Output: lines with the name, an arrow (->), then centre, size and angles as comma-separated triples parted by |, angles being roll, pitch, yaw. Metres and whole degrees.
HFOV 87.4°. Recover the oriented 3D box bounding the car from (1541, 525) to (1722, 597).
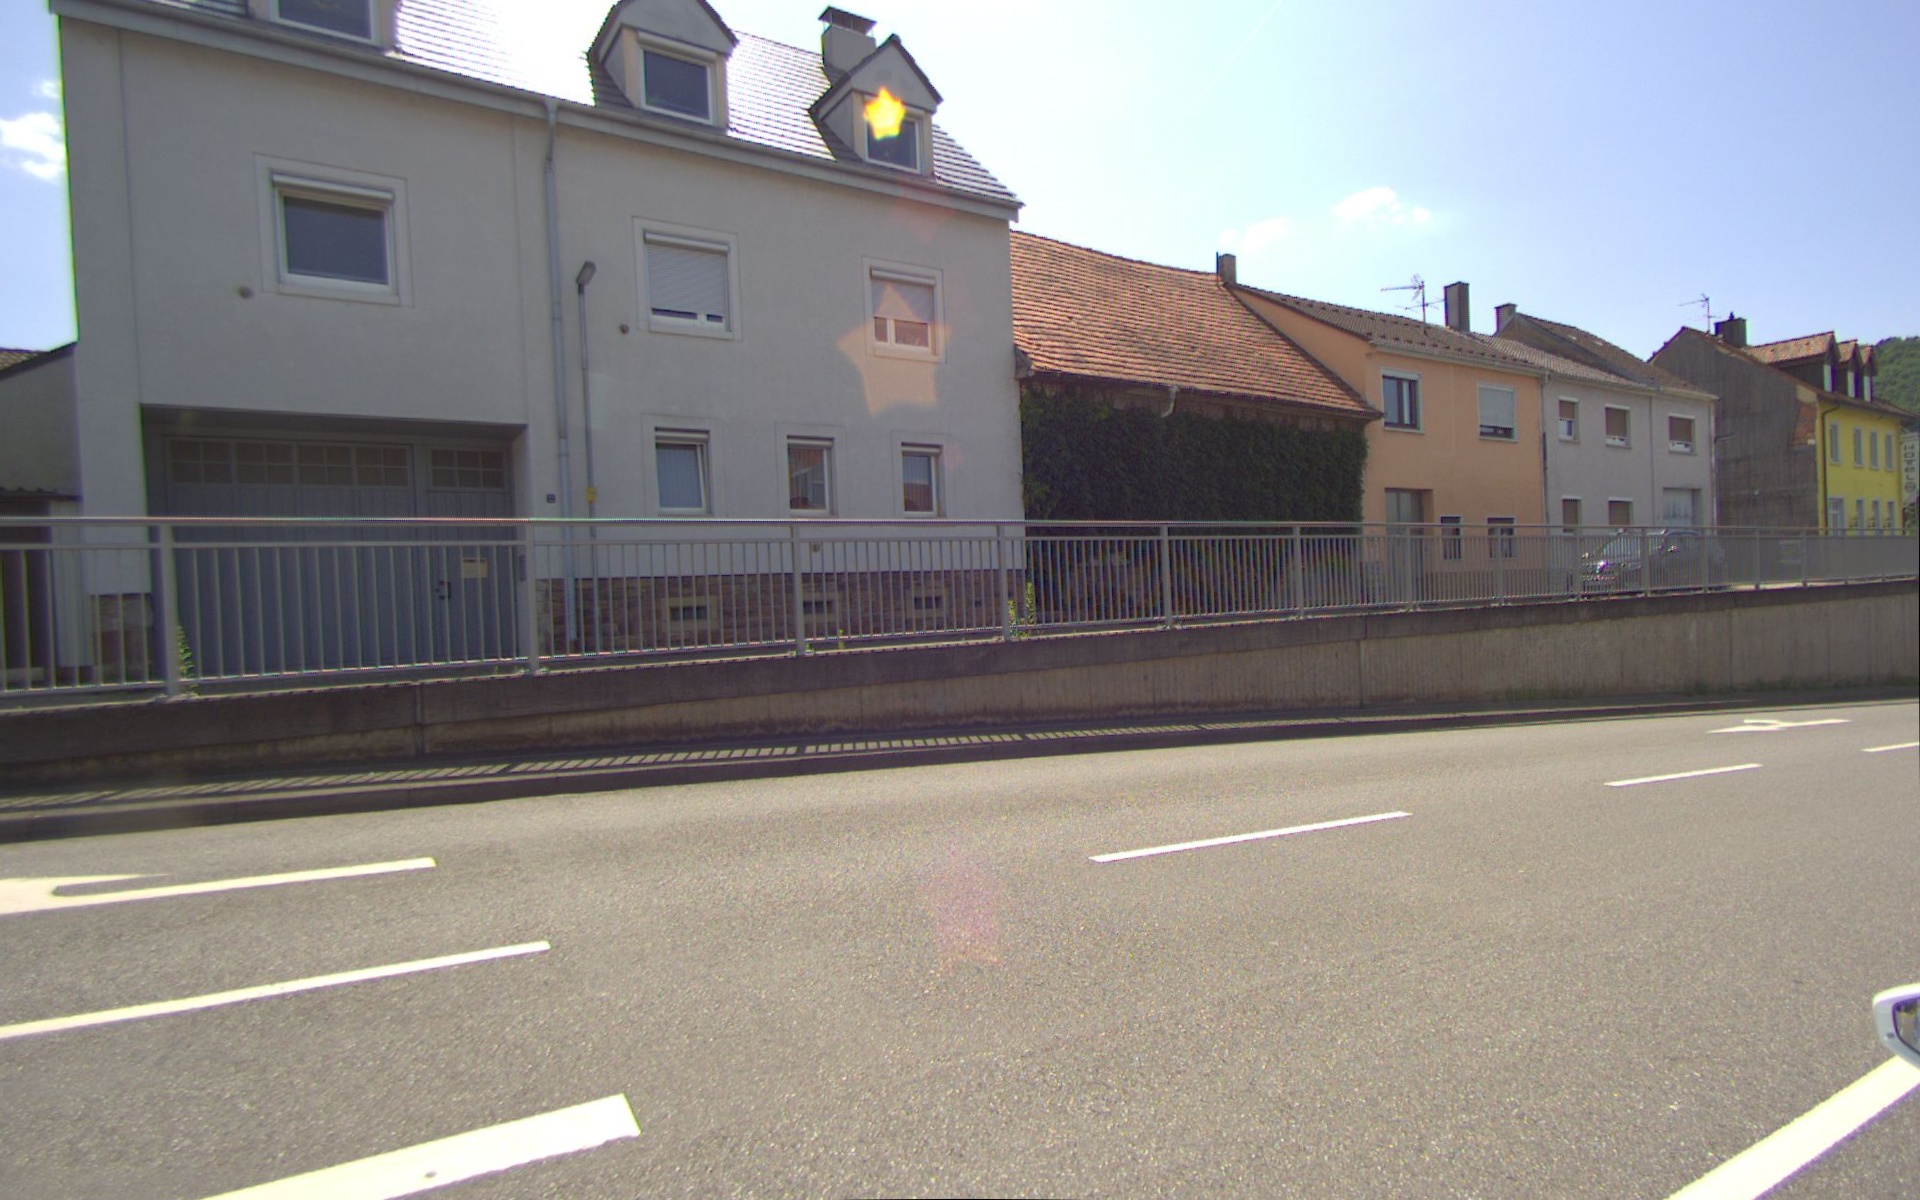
car -> 14.777, -0.816, 22.026 | 4.346, 1.424, 1.775 | -1, 0, -34
